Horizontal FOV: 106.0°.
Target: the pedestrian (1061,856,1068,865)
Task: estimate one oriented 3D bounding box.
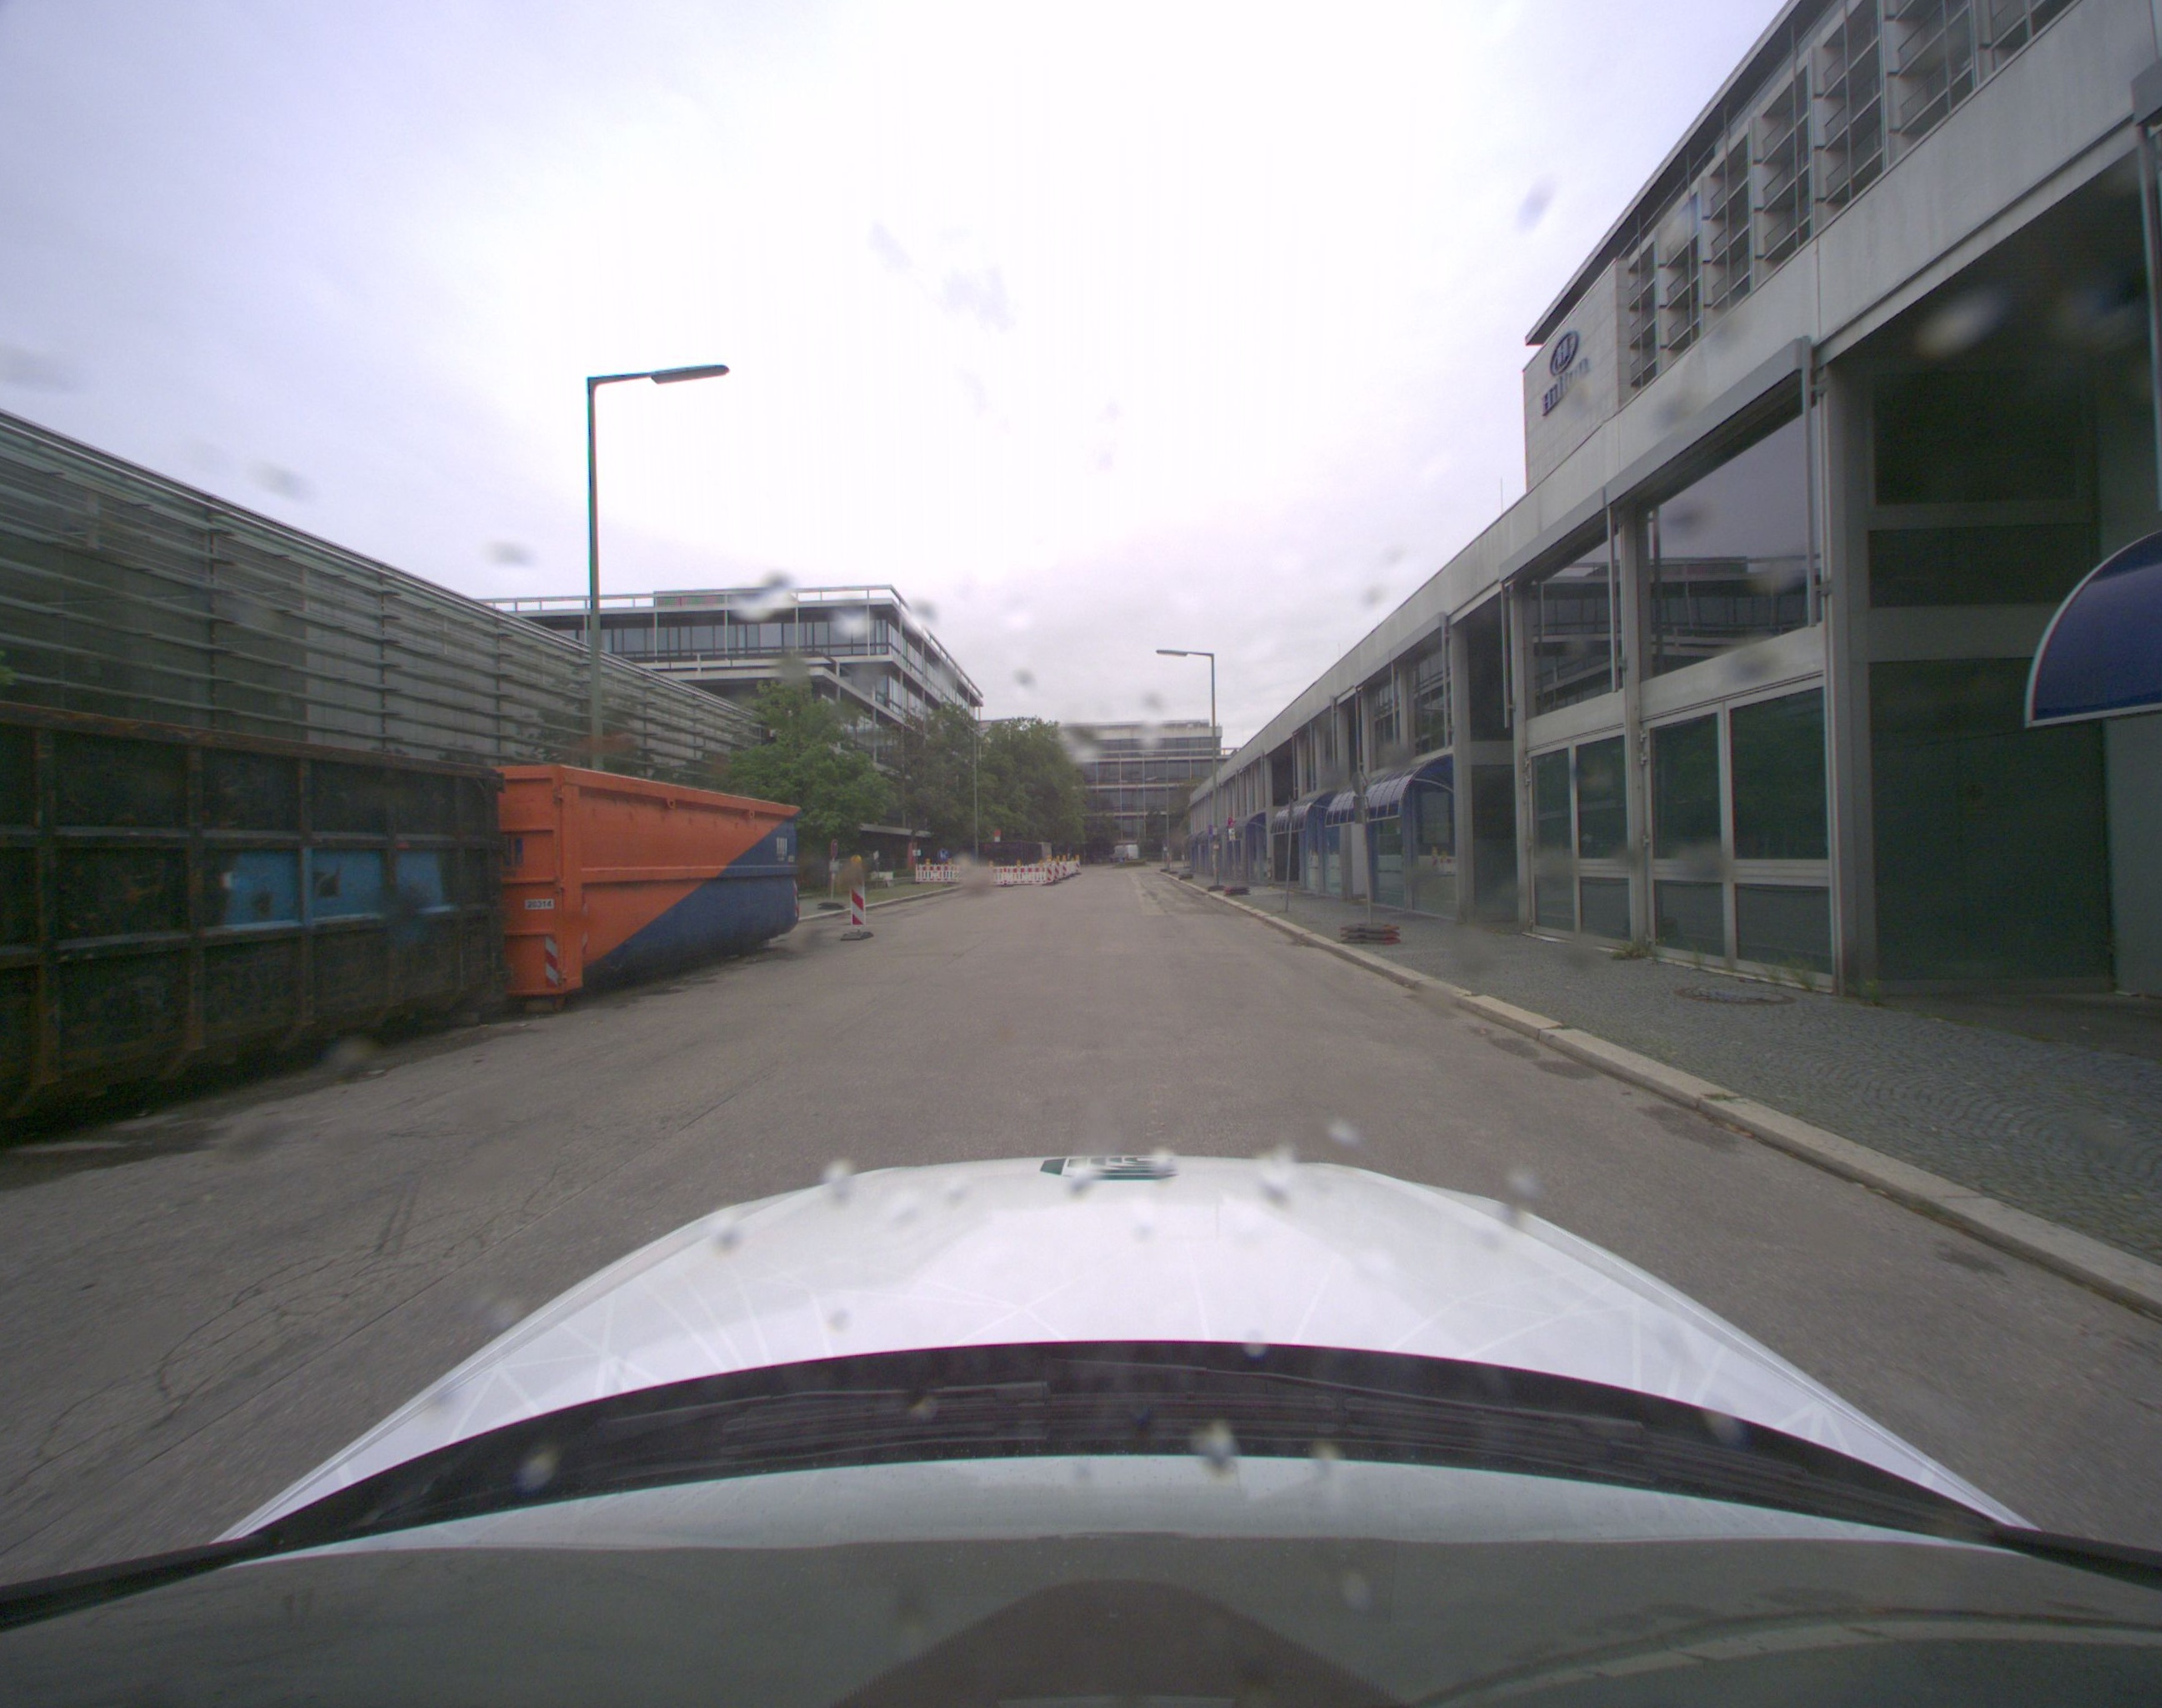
[{"bbox_3d":[-2.431,1.016,120.784,0.921,1.278,0.542,-1,0,4],"label":"pedestrian"}]

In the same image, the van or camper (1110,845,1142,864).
[{"bbox_3d":[6.713,0.102,122.587,2.165,2.581,6.488,-1,-2,-23],"label":"van or camper"}]
